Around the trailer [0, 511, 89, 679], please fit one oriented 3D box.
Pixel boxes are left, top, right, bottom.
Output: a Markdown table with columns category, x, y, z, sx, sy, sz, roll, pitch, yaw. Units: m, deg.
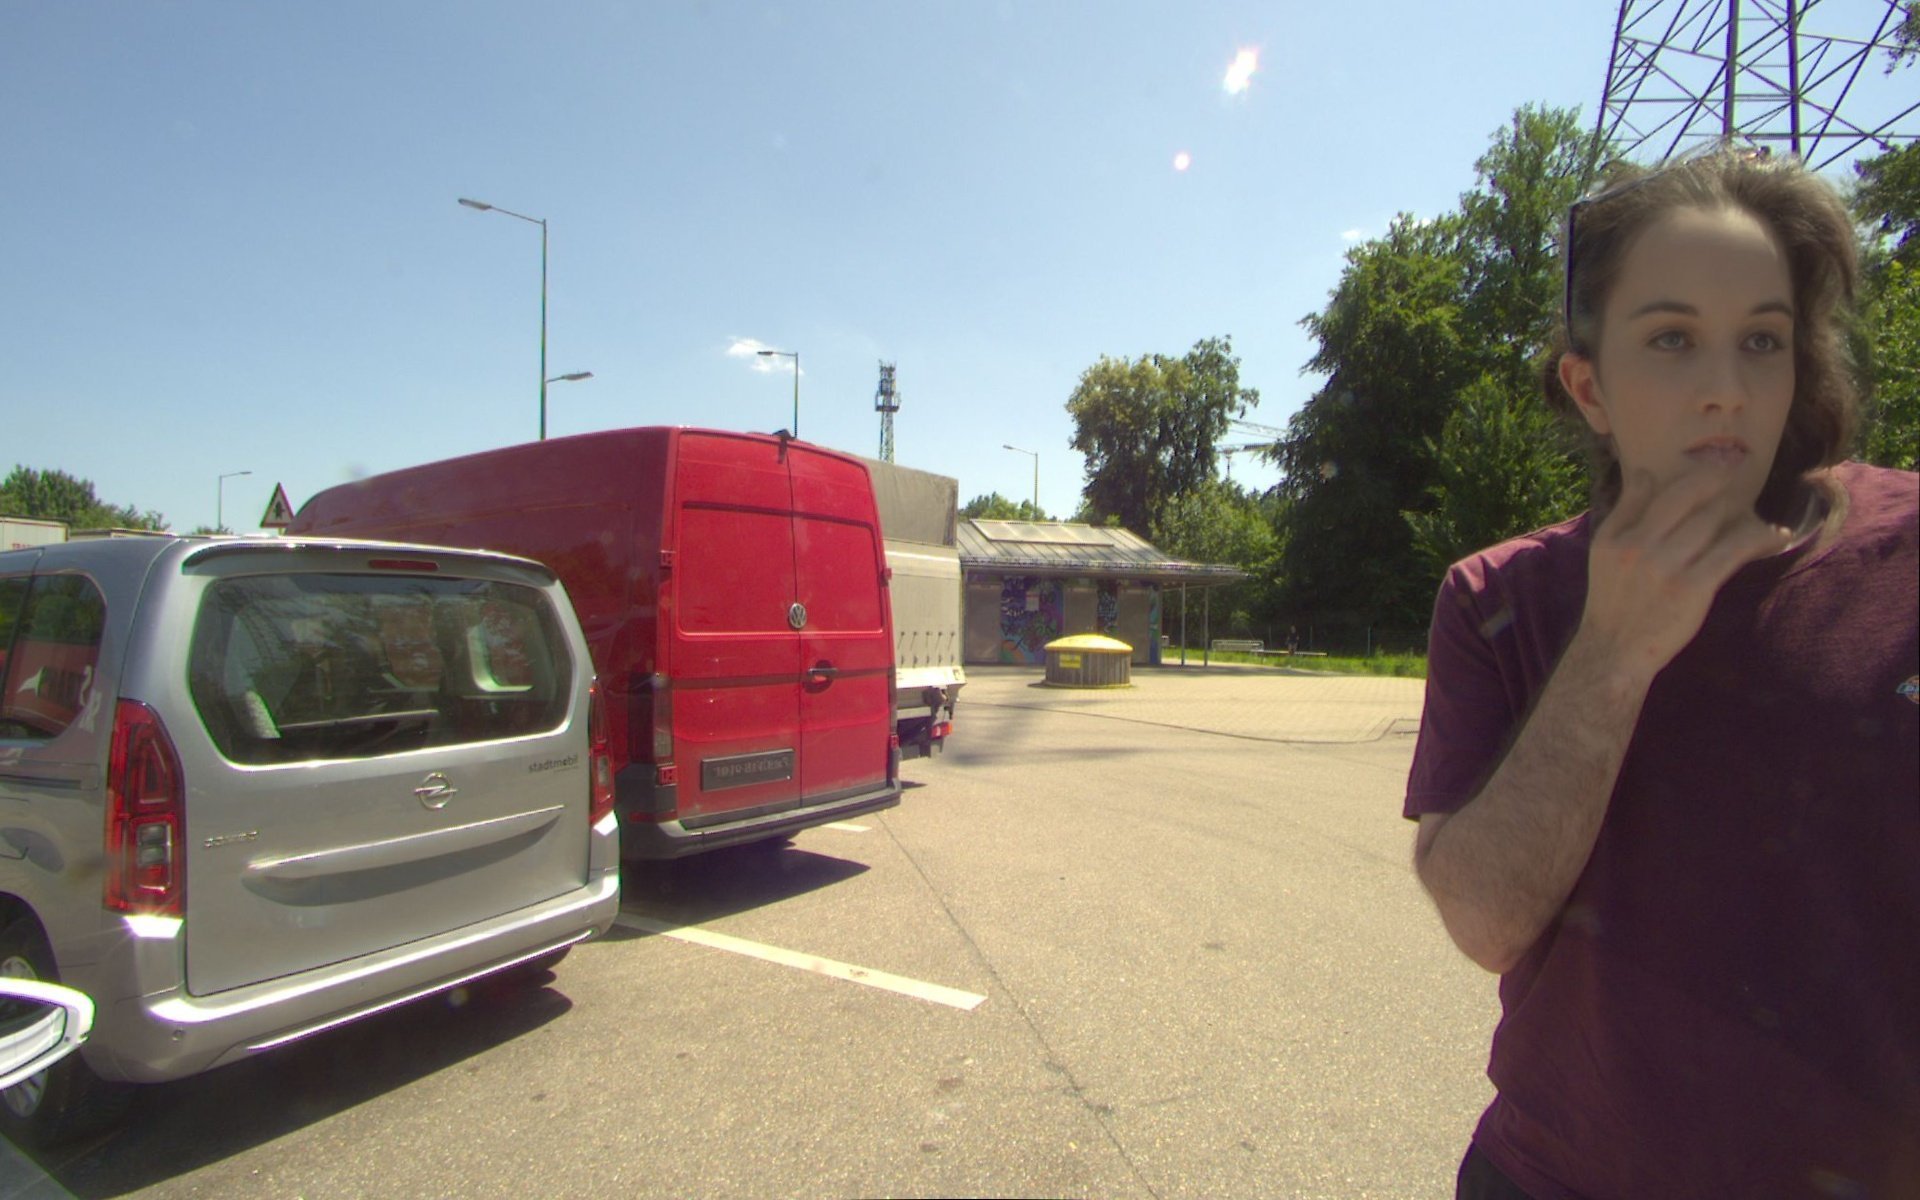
| category | x | y | z | sx | sy | sz | roll | pitch | yaw |
| --- | --- | --- | --- | --- | --- | --- | --- | --- | --- |
| trailer | -29.024 | -0.269 | 28.134 | 14.184 | 4.040 | 2.808 | 2 | -2 | 33 |

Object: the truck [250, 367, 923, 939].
| category | x | y | z | sx | sy | sz | roll | pitch | yaw |
| --- | --- | --- | --- | --- | --- | --- | --- | --- | --- |
| truck | -2.894 | 0.337 | 7.044 | 5.238 | 2.655 | 1.972 | -2 | -2 | 38 |

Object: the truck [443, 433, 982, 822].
| category | x | y | z | sx | sy | sz | roll | pitch | yaw |
| --- | --- | --- | --- | --- | --- | --- | --- | --- | --- |
| truck | -2.743 | 0.305 | 10.283 | 5.581 | 2.949 | 2.449 | -2 | -2 | 37 |

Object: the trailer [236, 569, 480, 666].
| category | x | y | z | sx | sy | sz | roll | pitch | yaw |
| --- | --- | --- | --- | --- | --- | --- | --- | --- | --- |
| trailer | -26.108 | 0.634 | 42.896 | 14.184 | 3.552 | 2.808 | 2 | -2 | 33 |

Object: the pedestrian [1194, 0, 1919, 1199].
| category | x | y | z | sx | sy | sz | roll | pitch | yaw |
| --- | --- | --- | --- | --- | --- | --- | --- | --- | --- |
| pedestrian | 0.695 | 0.568 | 0.930 | 0.848 | 1.857 | 0.861 | 0 | -1 | 8 |

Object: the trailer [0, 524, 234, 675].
| category | x | y | z | sx | sy | sz | roll | pitch | yaw |
| --- | --- | --- | --- | --- | --- | --- | --- | --- | --- |
| trailer | -27.960 | -0.111 | 31.780 | 14.184 | 4.040 | 2.808 | 2 | -2 | 33 |

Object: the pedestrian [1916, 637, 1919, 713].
| category | x | y | z | sx | sy | sz | roll | pitch | yaw |
| --- | --- | --- | --- | --- | --- | --- | --- | --- | --- |
| pedestrian | 17.251 | 1.325 | 17.476 | 0.690 | 1.352 | 0.561 | -1 | -1 | 33 |

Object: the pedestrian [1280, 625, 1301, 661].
| category | x | y | z | sx | sy | sz | roll | pitch | yaw |
| --- | --- | --- | --- | --- | --- | --- | --- | --- | --- |
| pedestrian | 15.416 | 2.007 | 46.776 | 0.722 | 1.658 | 0.793 | 0 | -1 | 2 |

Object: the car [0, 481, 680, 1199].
| category | x | y | z | sx | sy | sz | roll | pitch | yaw |
| --- | --- | --- | --- | --- | --- | --- | --- | --- | --- |
| car | -3.387 | 0.688 | 4.245 | 4.113 | 1.887 | 1.868 | 1 | -2 | 31 |

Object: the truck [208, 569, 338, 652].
| category | x | y | z | sx | sy | sz | roll | pitch | yaw |
| --- | --- | --- | --- | --- | --- | --- | --- | --- | --- |
| truck | -32.103 | 0.453 | 46.753 | 5.813 | 3.566 | 2.799 | 2 | -2 | 32 |
